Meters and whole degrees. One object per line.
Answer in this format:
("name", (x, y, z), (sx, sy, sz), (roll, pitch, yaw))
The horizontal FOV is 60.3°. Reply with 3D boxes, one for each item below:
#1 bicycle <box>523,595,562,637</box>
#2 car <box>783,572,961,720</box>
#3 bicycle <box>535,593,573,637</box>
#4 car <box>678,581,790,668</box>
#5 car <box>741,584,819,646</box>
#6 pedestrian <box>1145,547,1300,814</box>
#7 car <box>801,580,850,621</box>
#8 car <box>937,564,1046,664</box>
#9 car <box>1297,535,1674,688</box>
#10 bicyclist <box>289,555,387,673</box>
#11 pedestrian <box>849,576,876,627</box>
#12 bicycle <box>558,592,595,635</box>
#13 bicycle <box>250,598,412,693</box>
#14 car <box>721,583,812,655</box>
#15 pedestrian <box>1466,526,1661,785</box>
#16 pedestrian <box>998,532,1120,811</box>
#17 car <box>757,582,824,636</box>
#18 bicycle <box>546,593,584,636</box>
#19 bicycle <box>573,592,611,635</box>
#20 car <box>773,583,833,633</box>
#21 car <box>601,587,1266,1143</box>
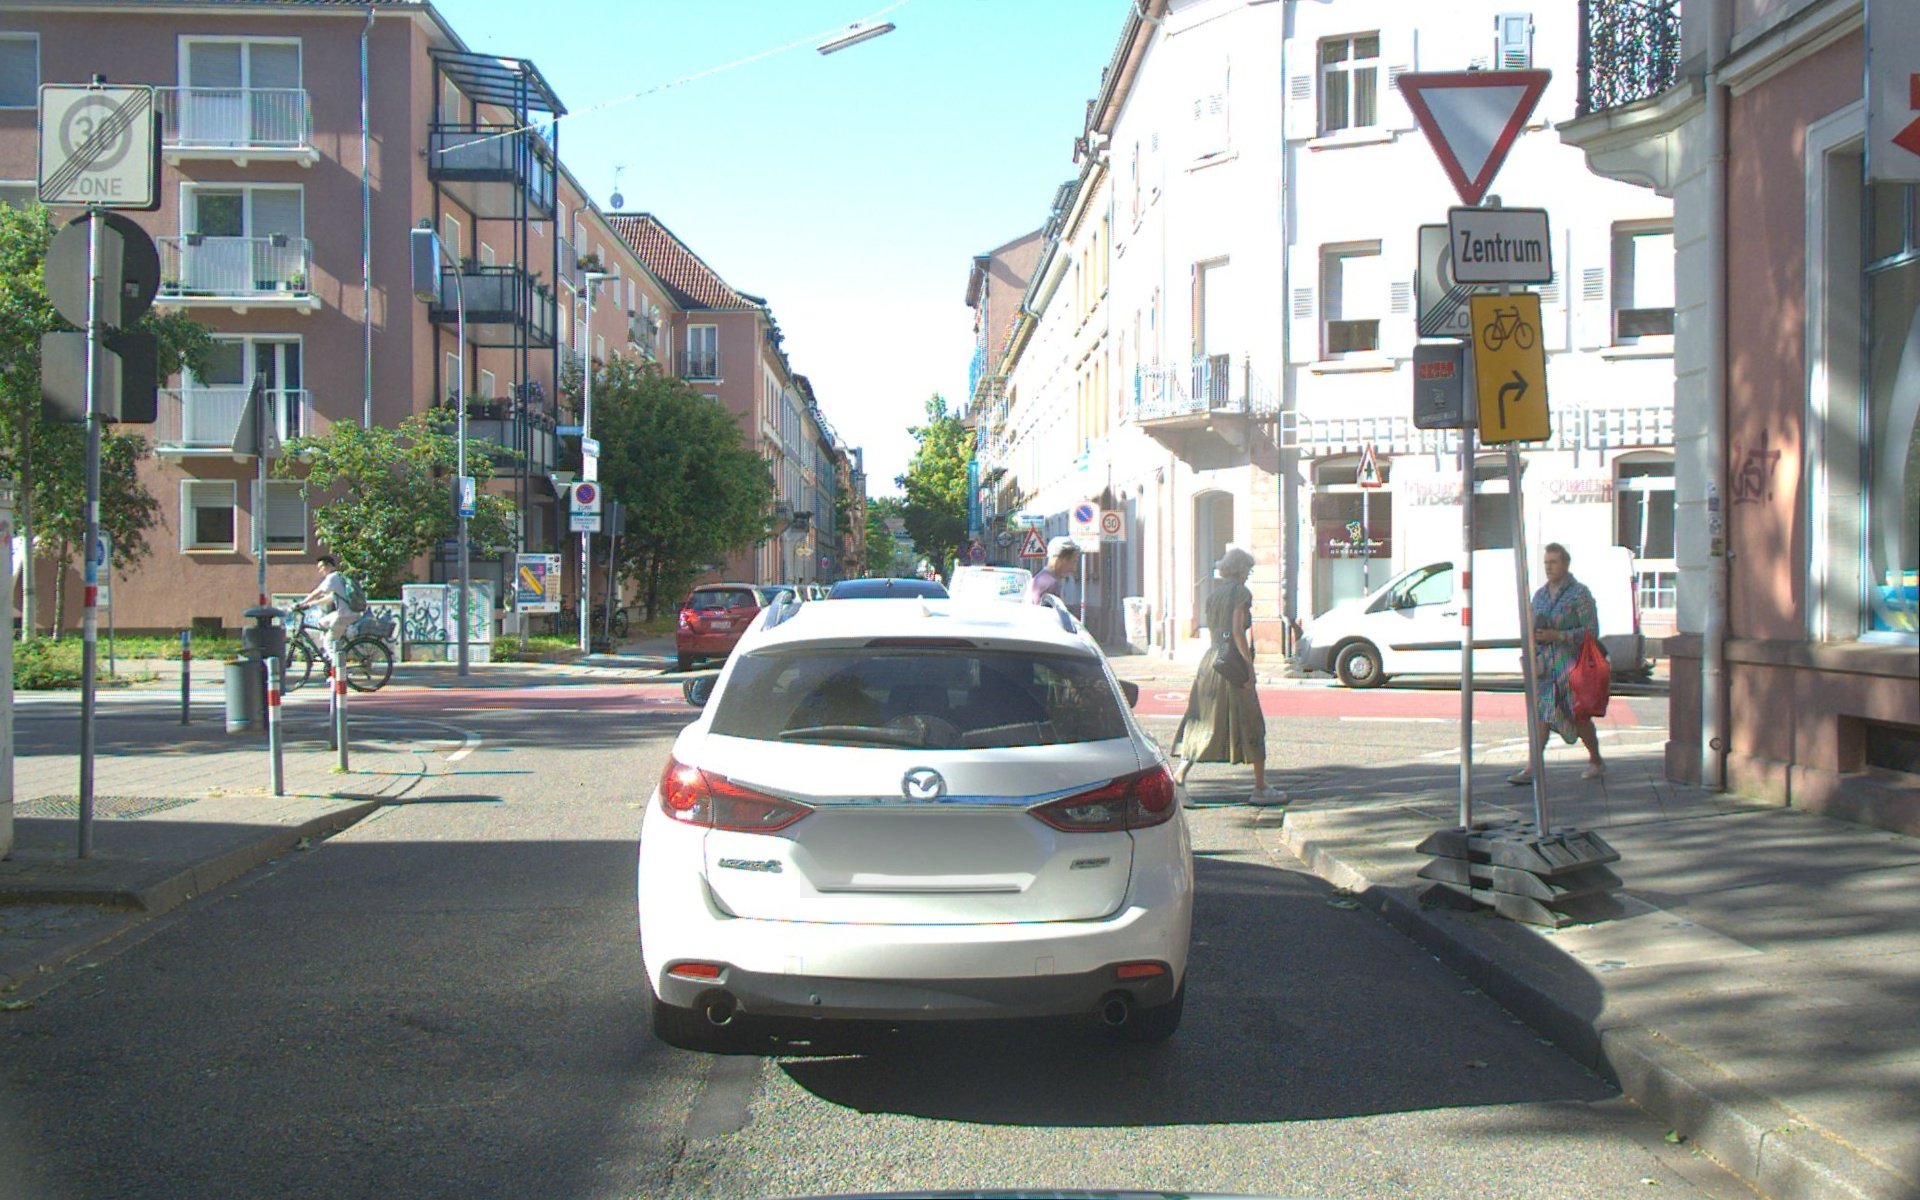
("bicycle", (-10.593, 0.397, 41.956), (1.193, 1.053, 0.290), (0, 1, 38))
("car", (-0.883, 0.429, 18.261), (1.725, 1.434, 4.327), (0, 0, -1))
("bicycle", (-10.363, 0.378, 42.210), (1.193, 1.091, 0.265), (0, 1, 38))
("car", (-4.199, 0.416, 31.212), (1.650, 1.526, 3.806), (0, 0, -1))
("car", (-4.558, 0.344, 42.336), (1.620, 1.526, 3.762), (0, 0, -1))
("pedestrian", (1.767, 0.536, 11.226), (0.819, 1.696, 0.626), (-4, -1, -1))
("car", (-5.142, 0.014, 63.380), (1.620, 1.526, 3.762), (0, 0, -1))
("car", (0.577, 0.245, 34.861), (1.857, 1.891, 5.011), (2, 0, -4))
("car", (7.433, 0.133, 23.427), (4.908, 1.980, 2.050), (0, 0, 23))
("bicyclist", (-8.276, 0.182, 22.042), (1.021, 1.545, 0.738), (0, 0, -1))
("pedestrian", (-3.208, 0.046, 54.359), (0.720, 1.642, 0.813), (-1, 0, -14))
("bicycle", (-9.924, 0.351, 42.755), (1.193, 1.090, 0.252), (0, 1, 38))
("bicycle", (-8.352, 0.597, 22.002), (1.907, 1.219, 0.630), (0, 0, -1))
("car", (-4.293, 0.391, 37.131), (1.620, 1.526, 4.079), (0, 0, -1))
("pedestrian", (4.034, 0.359, 11.120), (0.828, 1.600, 0.845), (-5, 0, -5))
("pedestrian", (0.651, 0.458, 11.113), (0.734, 1.795, 0.830), (-1, 0, -1))
("car", (-4.974, 0.241, 48.874), (1.620, 1.526, 3.762), (0, 0, -1))
("bicycle", (-10.143, 0.370, 42.483), (1.193, 1.089, 0.252), (0, 1, 38))
("bicycle", (-9.545, 0.341, 42.859), (1.196, 1.090, 0.252), (0, 1, 38))
("car", (-5.001, 0.233, 53.159), (1.620, 1.526, 3.762), (0, 0, -1))
("car", (-0.097, 0.699, 6.454), (1.794, 1.482, 3.961), (0, 1, -1))
